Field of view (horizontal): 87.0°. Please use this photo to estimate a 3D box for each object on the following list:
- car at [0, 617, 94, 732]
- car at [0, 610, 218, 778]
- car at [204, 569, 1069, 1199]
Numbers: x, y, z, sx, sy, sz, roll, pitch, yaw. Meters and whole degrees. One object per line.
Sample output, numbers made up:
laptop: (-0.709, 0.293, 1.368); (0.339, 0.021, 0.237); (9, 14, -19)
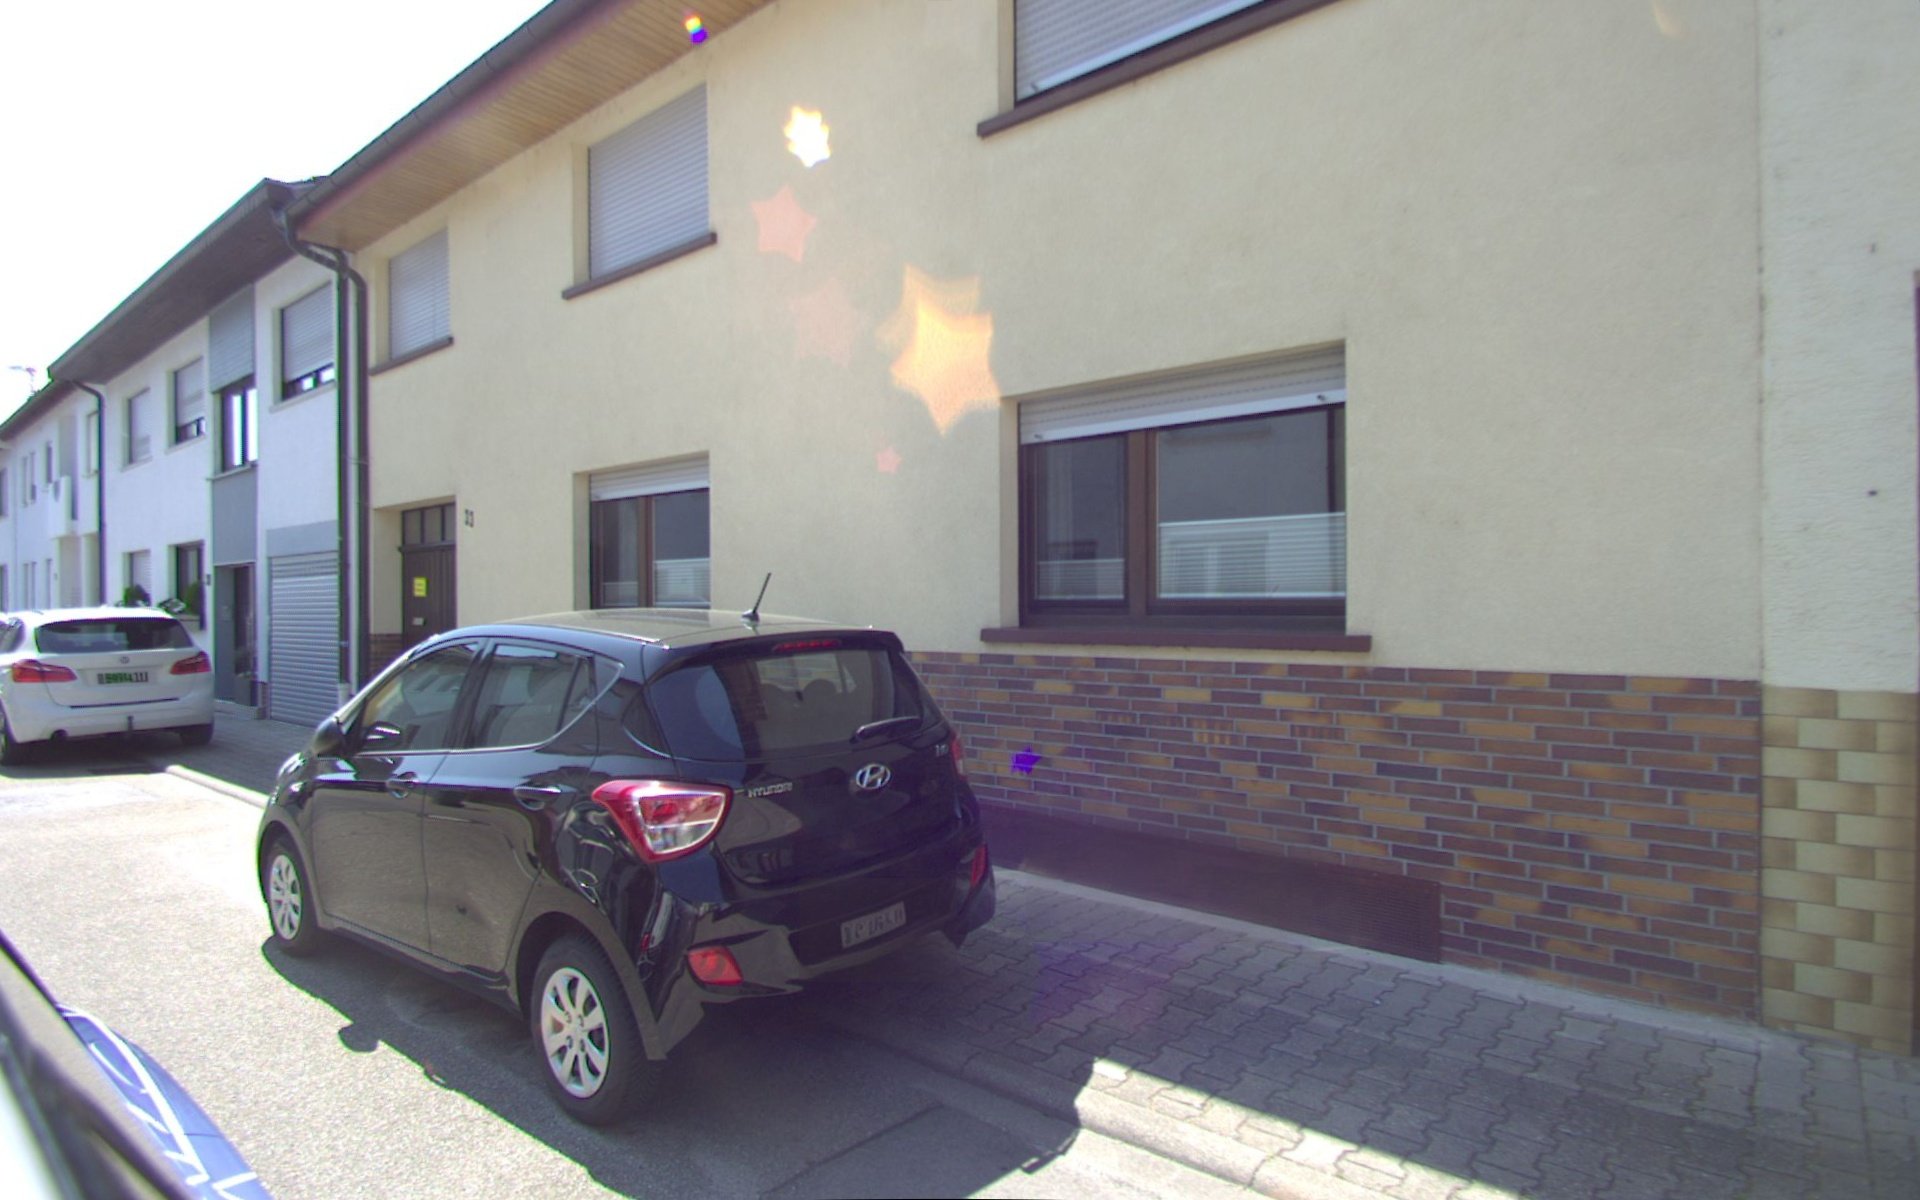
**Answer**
car: (-14.273, 1.023, 14.839); (3.682, 1.553, 1.647); (-1, -1, 37)
car: (-9.973, 0.904, 11.341); (3.936, 1.560, 1.647); (-1, -1, 38)
car: (-1.632, 0.726, 4.315); (3.938, 1.549, 1.624); (-1, -1, 39)
